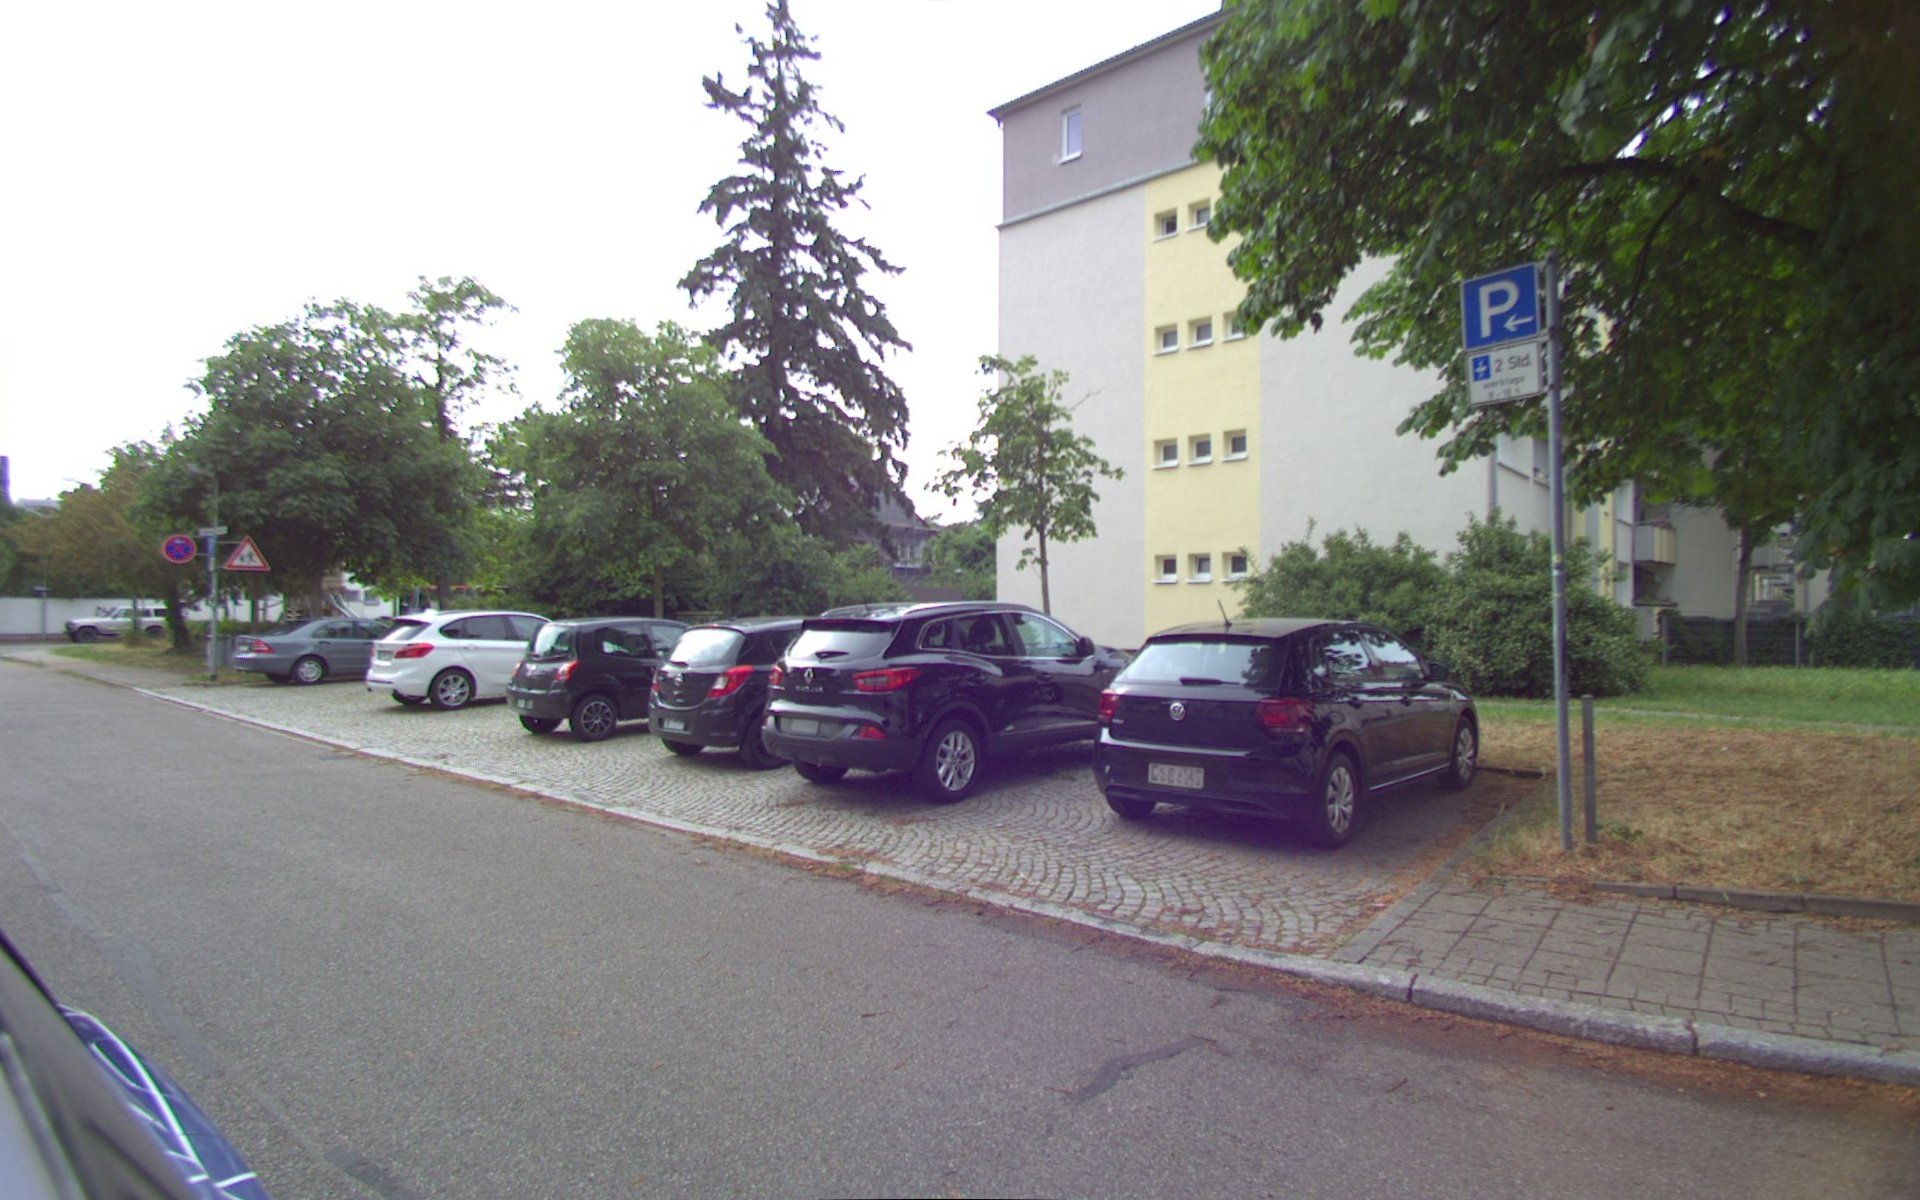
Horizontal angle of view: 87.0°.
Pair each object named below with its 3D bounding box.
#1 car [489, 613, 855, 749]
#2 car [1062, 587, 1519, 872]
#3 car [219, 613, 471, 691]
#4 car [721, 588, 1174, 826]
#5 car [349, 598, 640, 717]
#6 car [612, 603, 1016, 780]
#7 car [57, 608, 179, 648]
[{"bbox_3d":[-3.766,0.954,13.838,1.842,1.475,4.493,-1,0,45],"label":"car"},{"bbox_3d":[2.663,0.760,7.663,1.831,1.589,3.787,-2,-2,44],"label":"car"},{"bbox_3d":[-13.485,1.071,22.467,1.677,1.465,4.504,-1,0,36],"label":"car"},{"bbox_3d":[0.049,0.758,9.389,1.917,1.710,4.009,-1,0,45],"label":"car"},{"bbox_3d":[-7.848,0.863,17.361,1.884,1.572,4.093,1,3,41],"label":"car"},{"bbox_3d":[-1.481,0.853,11.476,1.842,1.577,4.293,-1,0,45],"label":"car"},{"bbox_3d":[-42.721,1.376,51.426,1.997,1.873,4.437,2,1,37],"label":"car"}]
